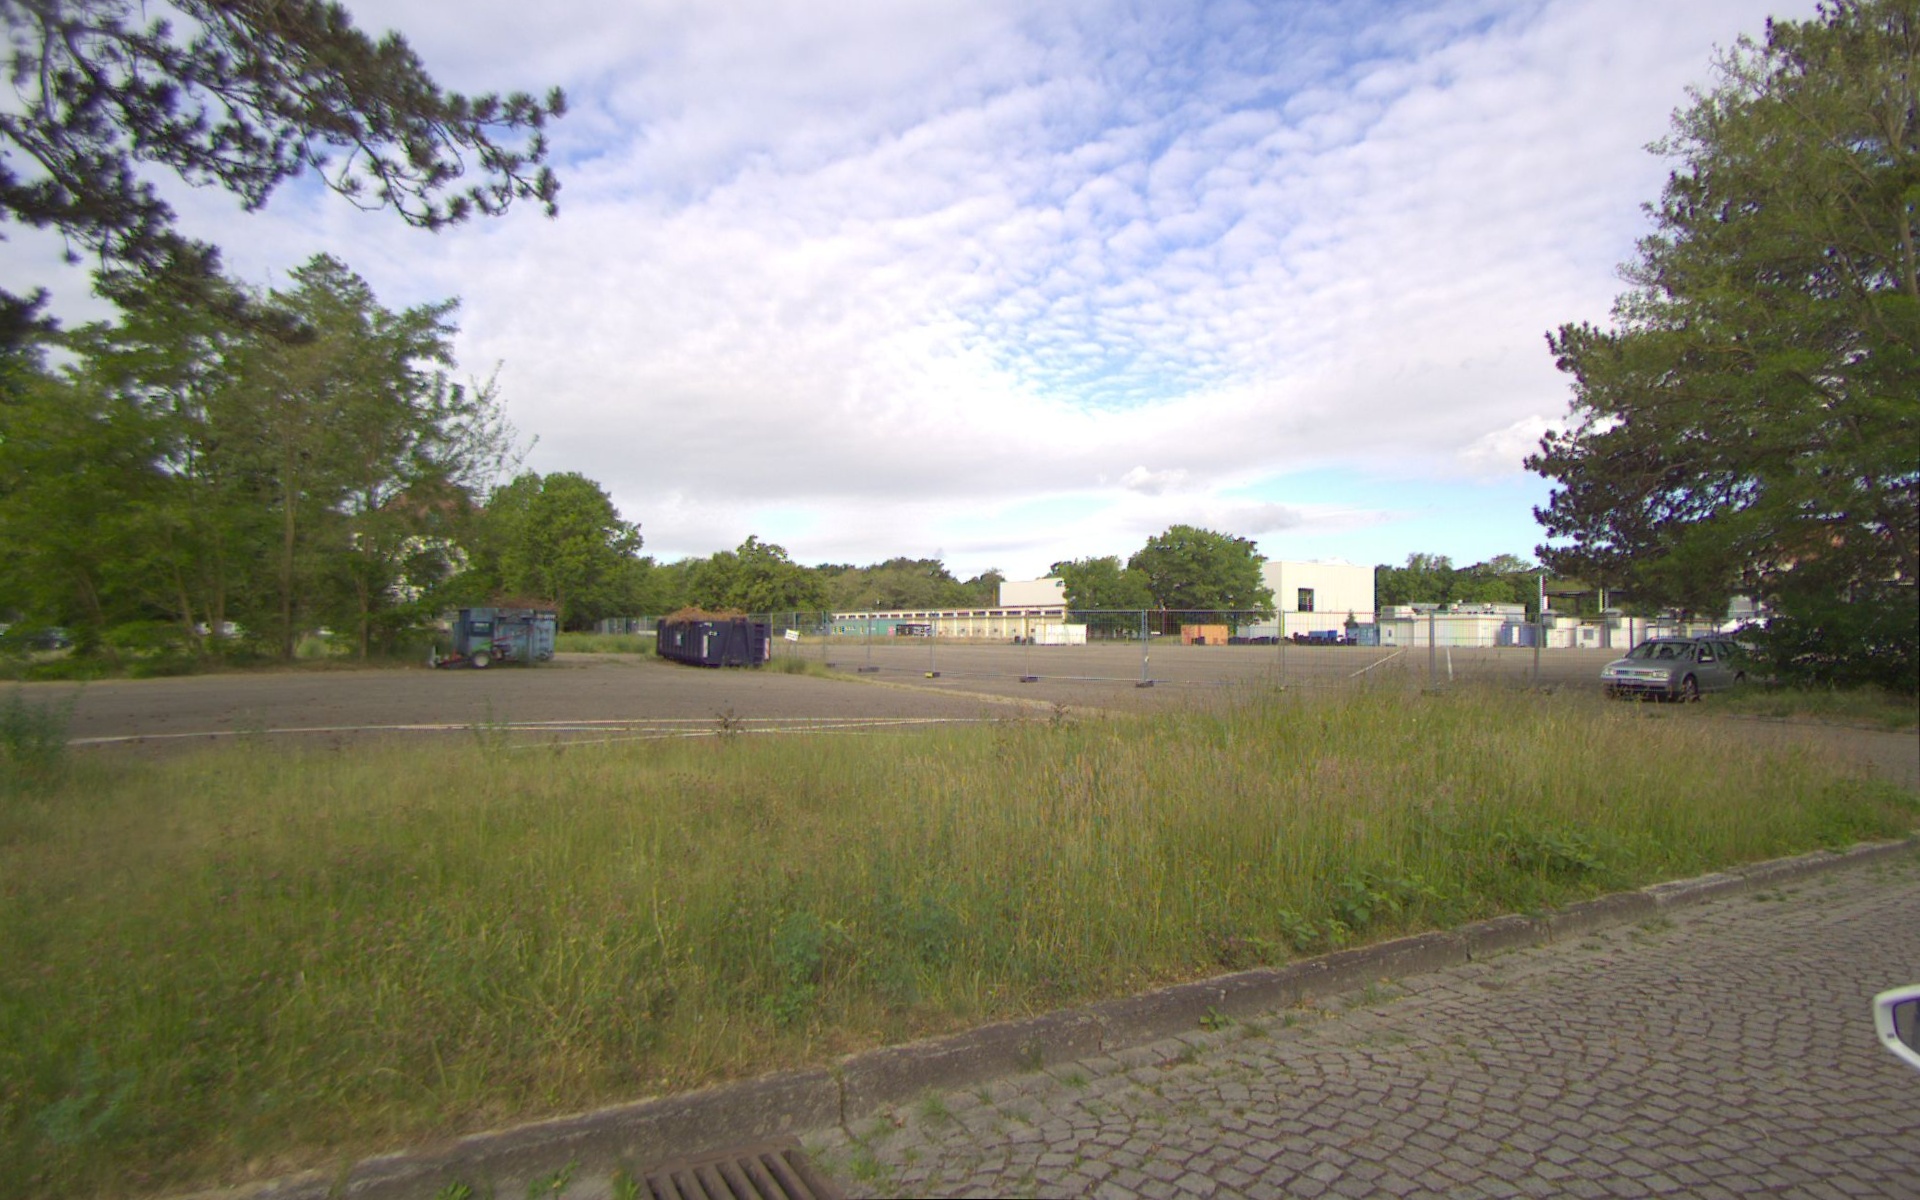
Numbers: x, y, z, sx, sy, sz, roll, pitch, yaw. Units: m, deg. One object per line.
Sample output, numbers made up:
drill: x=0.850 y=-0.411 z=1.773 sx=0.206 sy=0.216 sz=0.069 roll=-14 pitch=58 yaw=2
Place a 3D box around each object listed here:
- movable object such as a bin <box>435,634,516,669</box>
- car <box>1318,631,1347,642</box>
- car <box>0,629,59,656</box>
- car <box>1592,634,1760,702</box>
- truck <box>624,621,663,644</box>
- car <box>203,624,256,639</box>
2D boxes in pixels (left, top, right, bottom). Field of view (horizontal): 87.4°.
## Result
movable object such as a bin: x=-13.687 y=1.444 z=28.404 sx=1.917 sy=0.945 sz=1.031 roll=2 pitch=-3 yaw=-37
car: x=55.617 y=5.424 z=149.962 sx=1.612 sy=1.553 sz=3.947 roll=1 pitch=-2 yaw=-31
car: x=-58.209 y=2.623 z=61.278 sx=4.533 sy=1.542 sz=1.825 roll=-1 pitch=-1 yaw=-32
car: x=17.005 y=1.551 z=23.815 sx=4.417 sy=1.457 sz=1.706 roll=1 pitch=-2 yaw=-32
truck: x=-31.594 y=3.199 z=100.118 sx=2.346 sy=2.227 sz=6.505 roll=1 pitch=-2 yaw=-29
car: x=-79.828 y=3.439 z=109.786 sx=4.534 sy=1.654 sz=1.825 roll=1 pitch=-2 yaw=-32
